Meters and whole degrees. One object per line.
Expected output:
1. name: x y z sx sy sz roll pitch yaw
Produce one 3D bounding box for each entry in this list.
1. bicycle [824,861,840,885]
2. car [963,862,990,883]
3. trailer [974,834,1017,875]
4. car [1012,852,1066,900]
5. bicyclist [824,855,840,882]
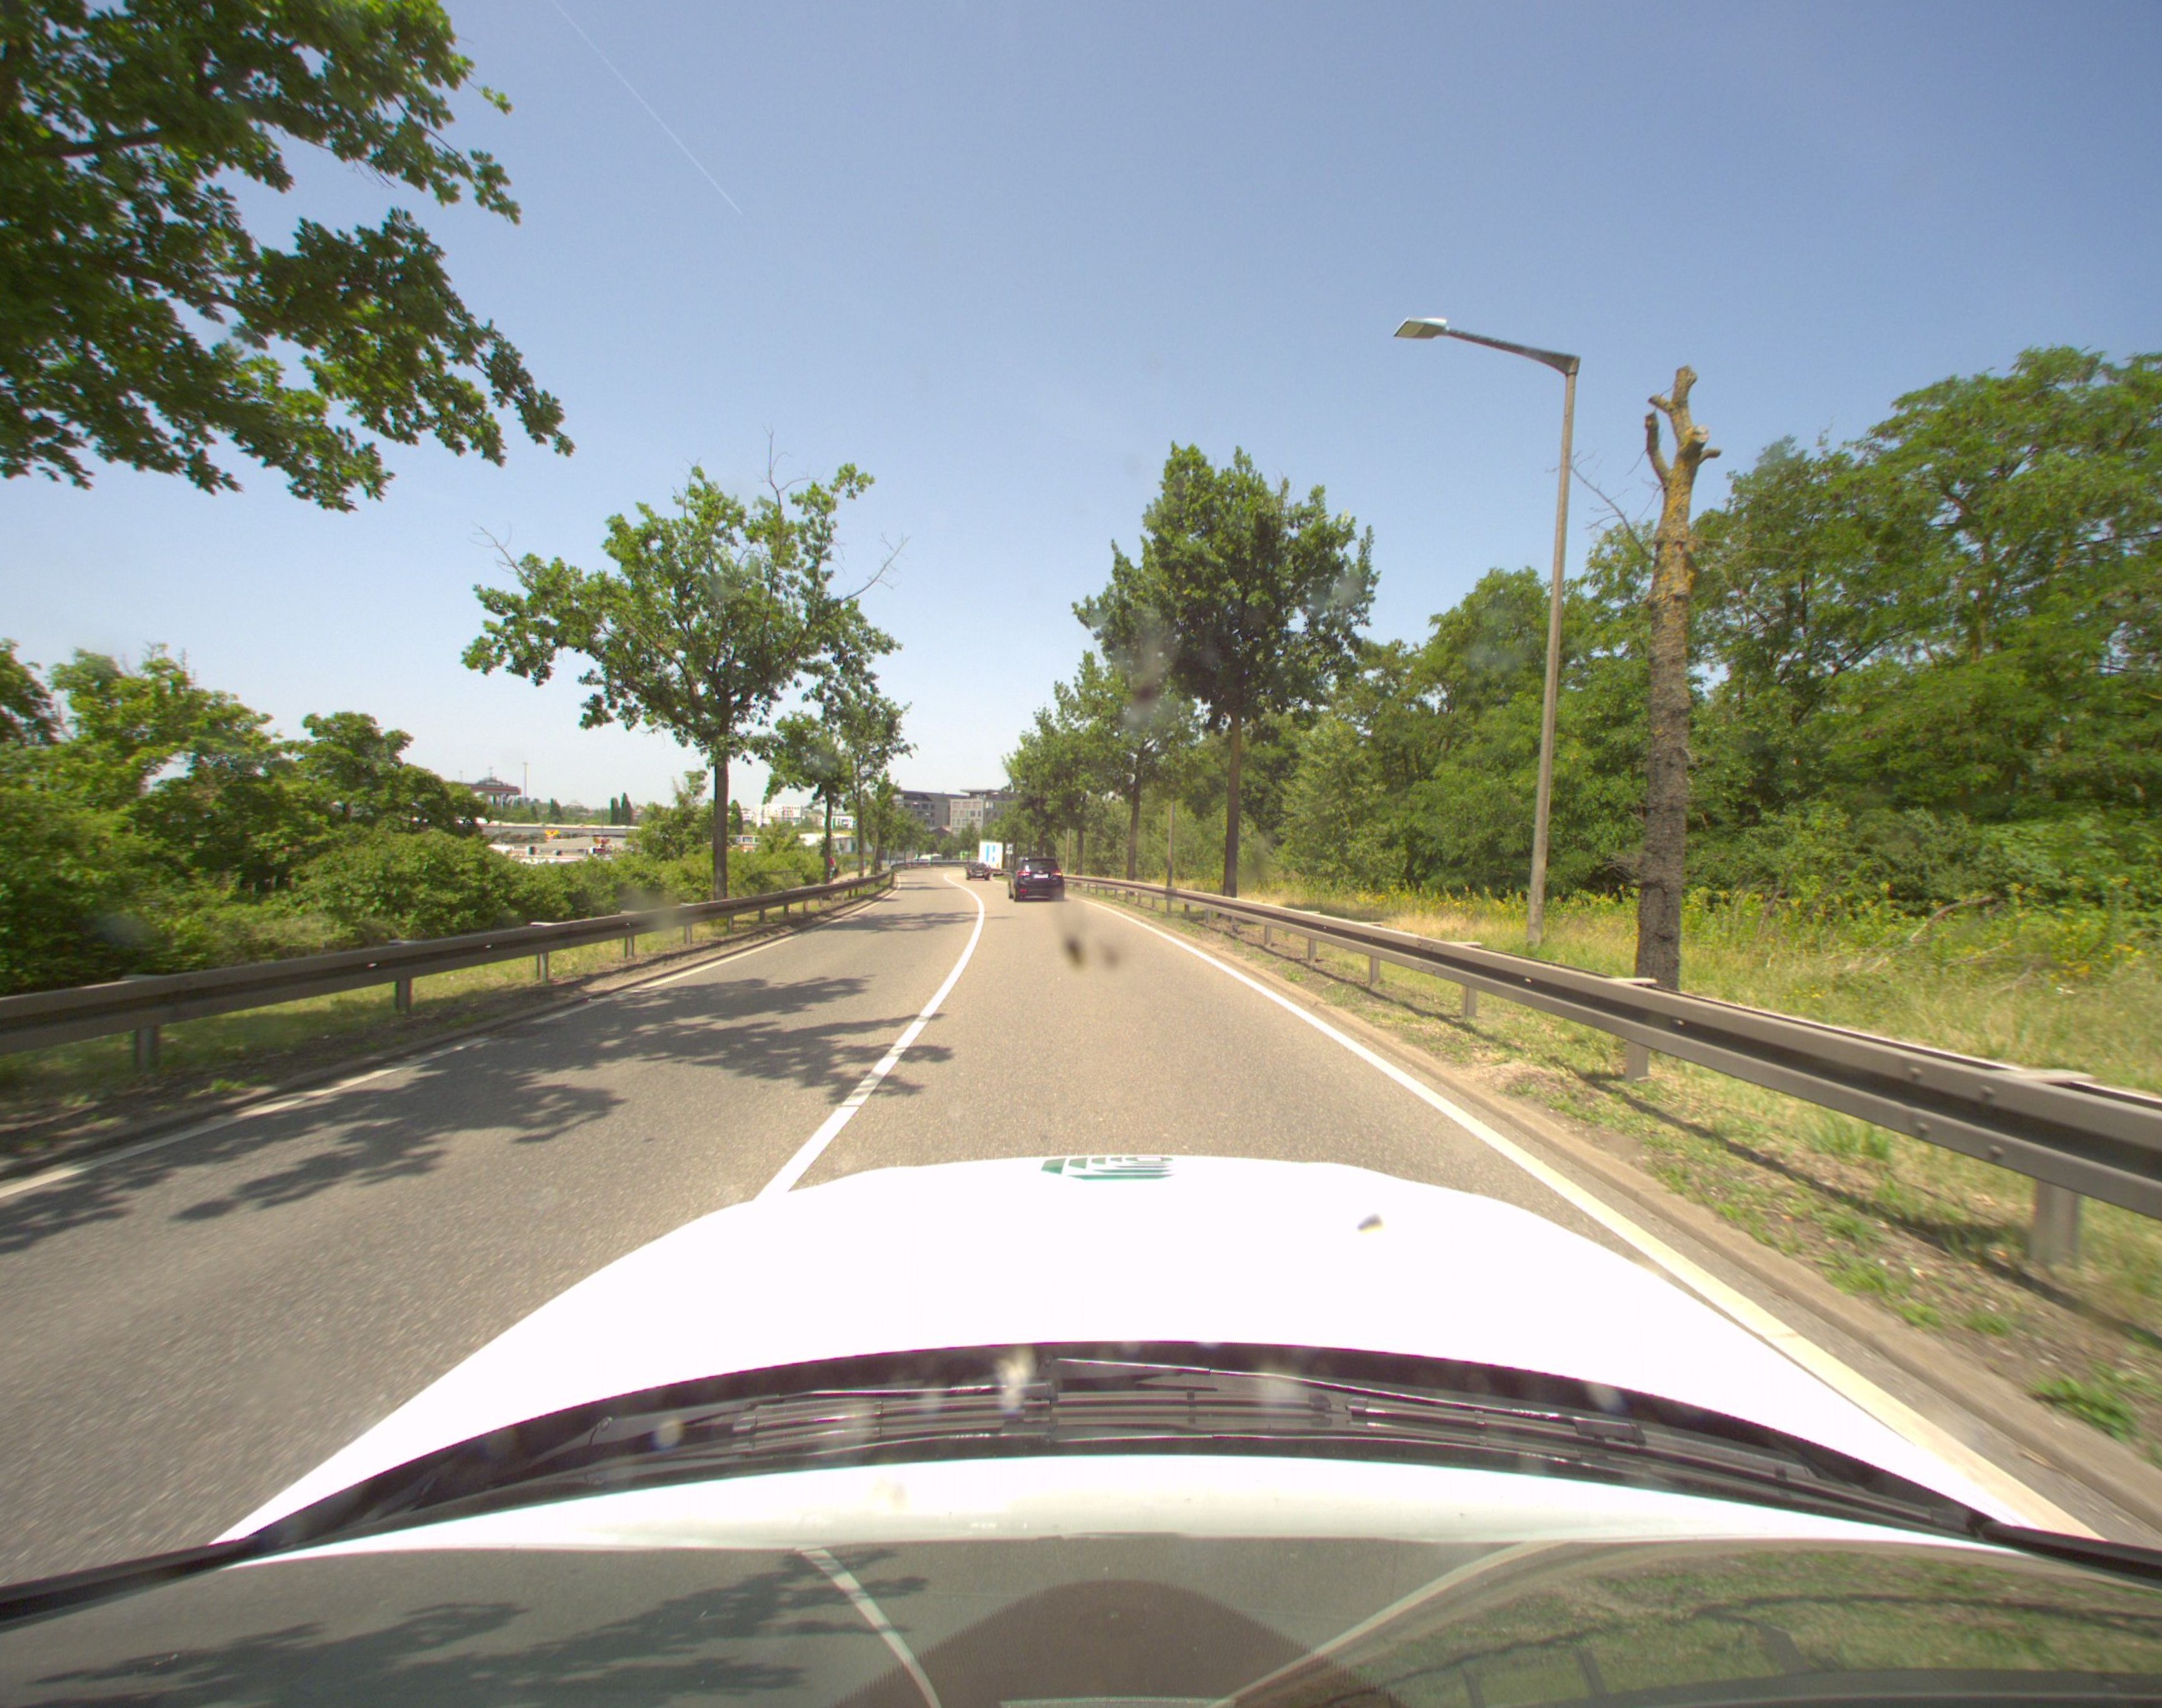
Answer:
1. bicycle: -13.805 1.041 45.138 0.735 1.281 2.036 1 -1 -14
2. car: -8.320 1.444 64.517 1.957 1.634 4.265 1 -1 -10
3. trailer: -9.861 -0.052 95.964 3.067 4.368 14.776 2 0 1
4. car: -1.592 0.776 29.673 1.764 1.599 4.069 -1 -1 -5
5. bicyclist: -13.825 0.828 45.231 0.743 1.489 0.753 1 -1 -14
